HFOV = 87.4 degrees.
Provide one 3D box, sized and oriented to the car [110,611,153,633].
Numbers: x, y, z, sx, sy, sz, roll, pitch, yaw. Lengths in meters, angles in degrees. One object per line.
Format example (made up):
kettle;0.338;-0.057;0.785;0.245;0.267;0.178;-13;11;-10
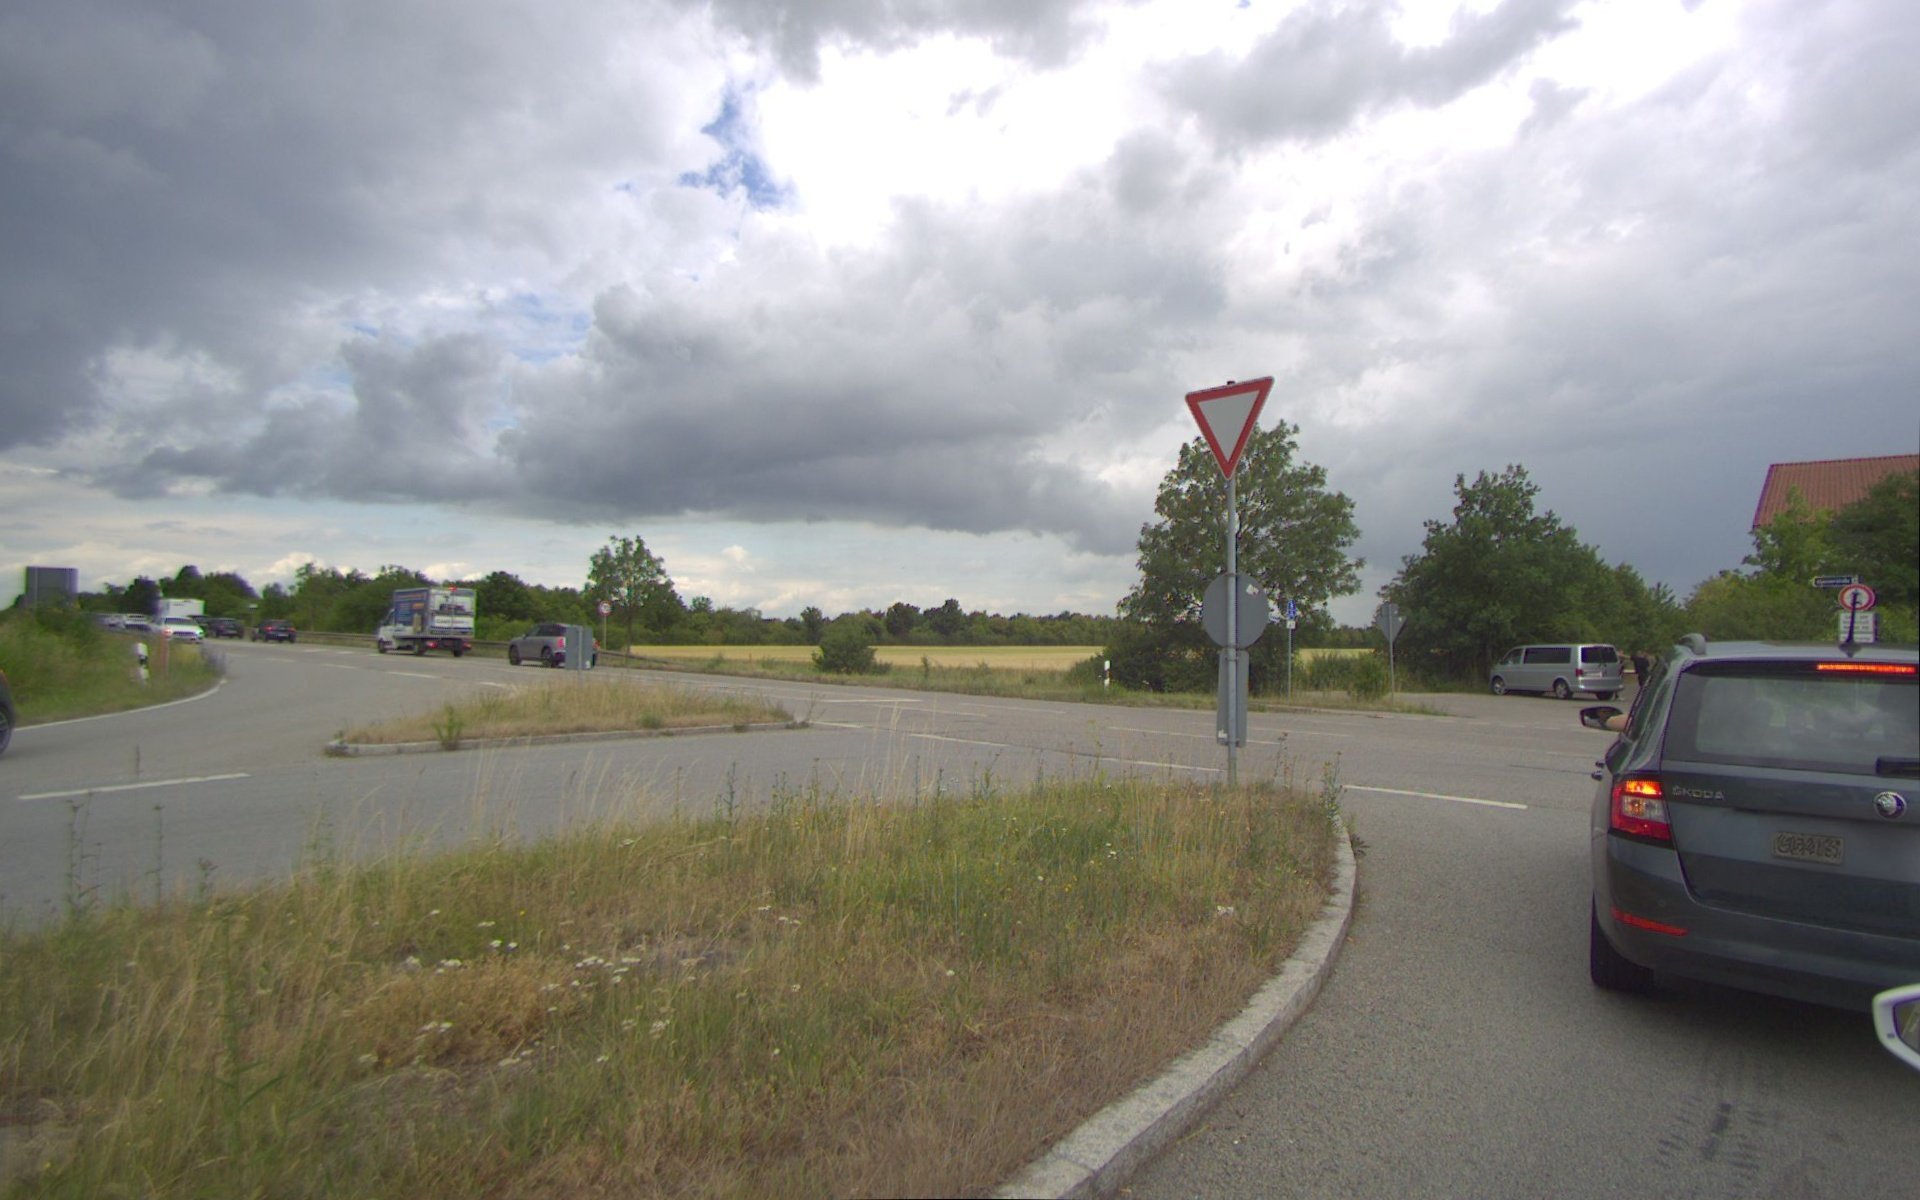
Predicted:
car;-78.025;2.084;94.567;4.804;1.947;2.329;-1;-3;41

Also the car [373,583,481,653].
car;-25.578;0.906;48.074;6.463;3.068;2.330;-2;-5;42

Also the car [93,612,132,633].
car;-84.311;2.247;99.895;4.805;1.947;2.329;-1;-3;42

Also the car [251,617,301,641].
car;-45.193;1.912;66.377;3.943;1.545;1.839;-1;-3;42

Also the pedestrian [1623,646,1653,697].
pedestrian;23.511;2.460;34.834;0.787;1.745;0.716;2;-2;-45

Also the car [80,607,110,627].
car;-91.203;1.792;105.884;3.941;2.040;1.789;-1;-2;41

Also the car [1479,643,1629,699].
car;21.930;2.563;37.396;2.074;1.910;5.096;0;-2;-8

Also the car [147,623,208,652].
car;-41.330;1.976;53.036;4.328;1.470;1.763;-1;-3;41

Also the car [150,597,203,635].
car;-65.890;1.404;84.453;6.462;3.069;2.329;-1;-3;41

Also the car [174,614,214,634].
car;-59.574;1.893;78.113;3.944;1.545;1.838;-2;-3;43

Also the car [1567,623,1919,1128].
car;3.970;0.889;4.686;1.690;1.466;4.104;1;-1;35

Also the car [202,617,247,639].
car;-53.756;2.079;73.405;3.942;1.545;1.839;-1;-3;42

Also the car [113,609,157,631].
car;-73.875;1.820;89.946;4.805;1.947;2.329;-1;-3;42

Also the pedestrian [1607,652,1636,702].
pedestrian;23.756;2.758;36.090;0.727;1.745;0.695;2;-2;-41

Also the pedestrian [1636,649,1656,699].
pedestrian;24.573;2.641;35.970;0.485;1.769;0.639;-1;-2;45

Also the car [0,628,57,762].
car;-10.562;0.951;8.899;1.643;1.370;4.166;-1;-1;-5

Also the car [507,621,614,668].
car;-15.196;1.695;38.152;4.198;1.644;1.991;-1;-5;40
